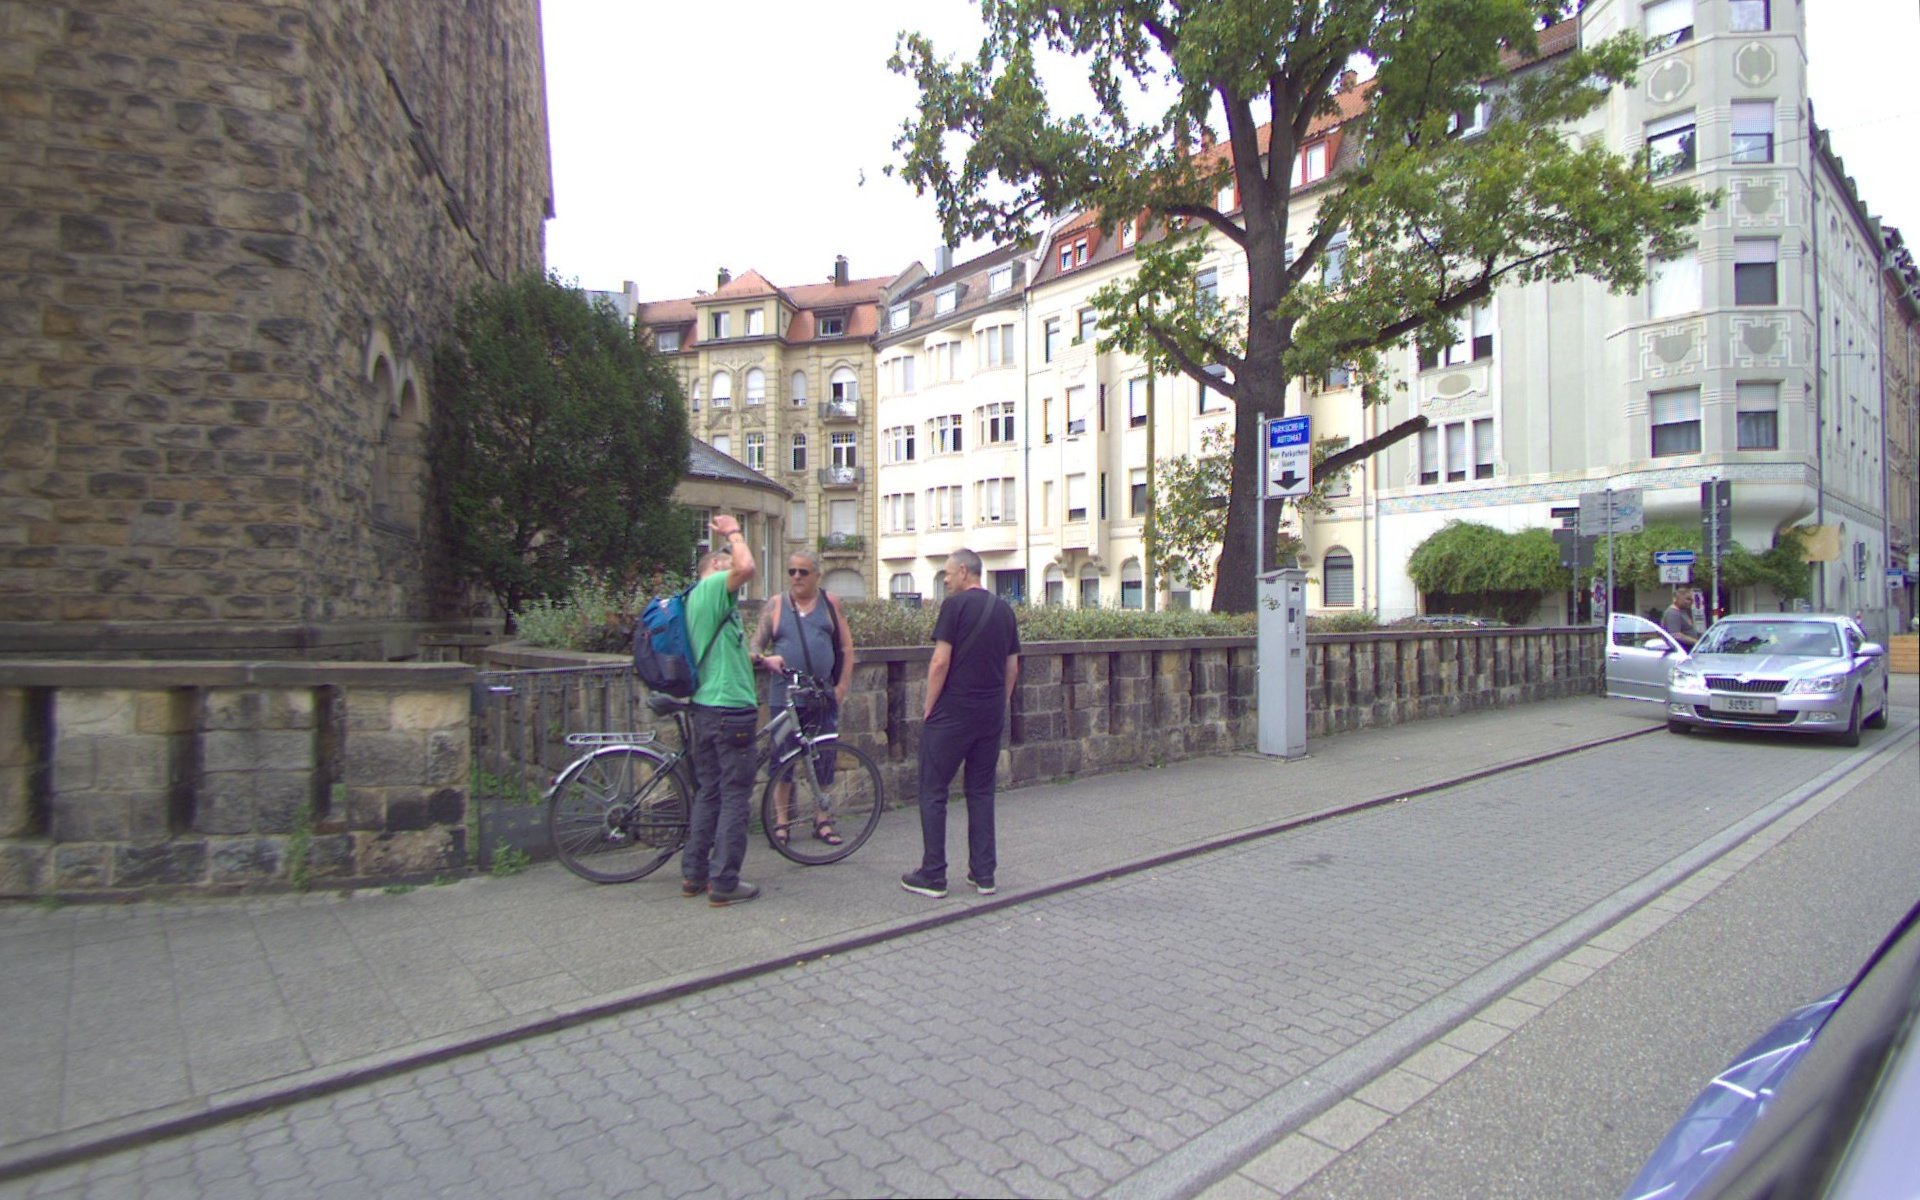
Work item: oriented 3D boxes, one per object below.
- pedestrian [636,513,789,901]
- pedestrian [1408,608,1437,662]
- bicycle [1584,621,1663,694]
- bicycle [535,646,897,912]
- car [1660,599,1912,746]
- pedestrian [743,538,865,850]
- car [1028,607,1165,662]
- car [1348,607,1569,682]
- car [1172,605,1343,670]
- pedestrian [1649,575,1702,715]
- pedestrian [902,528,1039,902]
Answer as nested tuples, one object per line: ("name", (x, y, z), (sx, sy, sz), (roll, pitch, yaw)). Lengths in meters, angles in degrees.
("pedestrian", (-1.189, 0.481, 4.899), (0.526, 1.742, 0.504), (-1, -1, 27))
("pedestrian", (12.906, 0.968, 28.231), (0.550, 1.488, 0.548), (1, -2, -40))
("bicycle", (10.745, 0.906, 16.376), (1.943, 1.119, 0.523), (1, -2, -40))
("bicycle", (-1.221, 0.838, 5.156), (1.716, 1.165, 0.535), (0, -1, -20))
("car", (10.209, 0.761, 12.394), (4.342, 1.487, 1.757), (1, -1, -42))
("pedestrian", (-0.921, 0.526, 6.013), (0.504, 1.742, 0.526), (-1, -1, 28))
("car", (4.152, 1.038, 31.273), (1.813, 1.555, 4.033), (4, -3, -38))
("car", (10.951, 0.919, 22.514), (1.871, 1.488, 4.039), (0, -1, -32))
("car", (7.782, 0.963, 26.747), (1.813, 1.555, 4.033), (4, -3, -38))
("pedestrian", (9.227, 0.565, 13.057), (0.403, 1.758, 0.468), (1, -1, -41))
("pedestrian", (0.060, 0.539, 5.080), (0.504, 1.742, 0.526), (-1, -1, 27))
